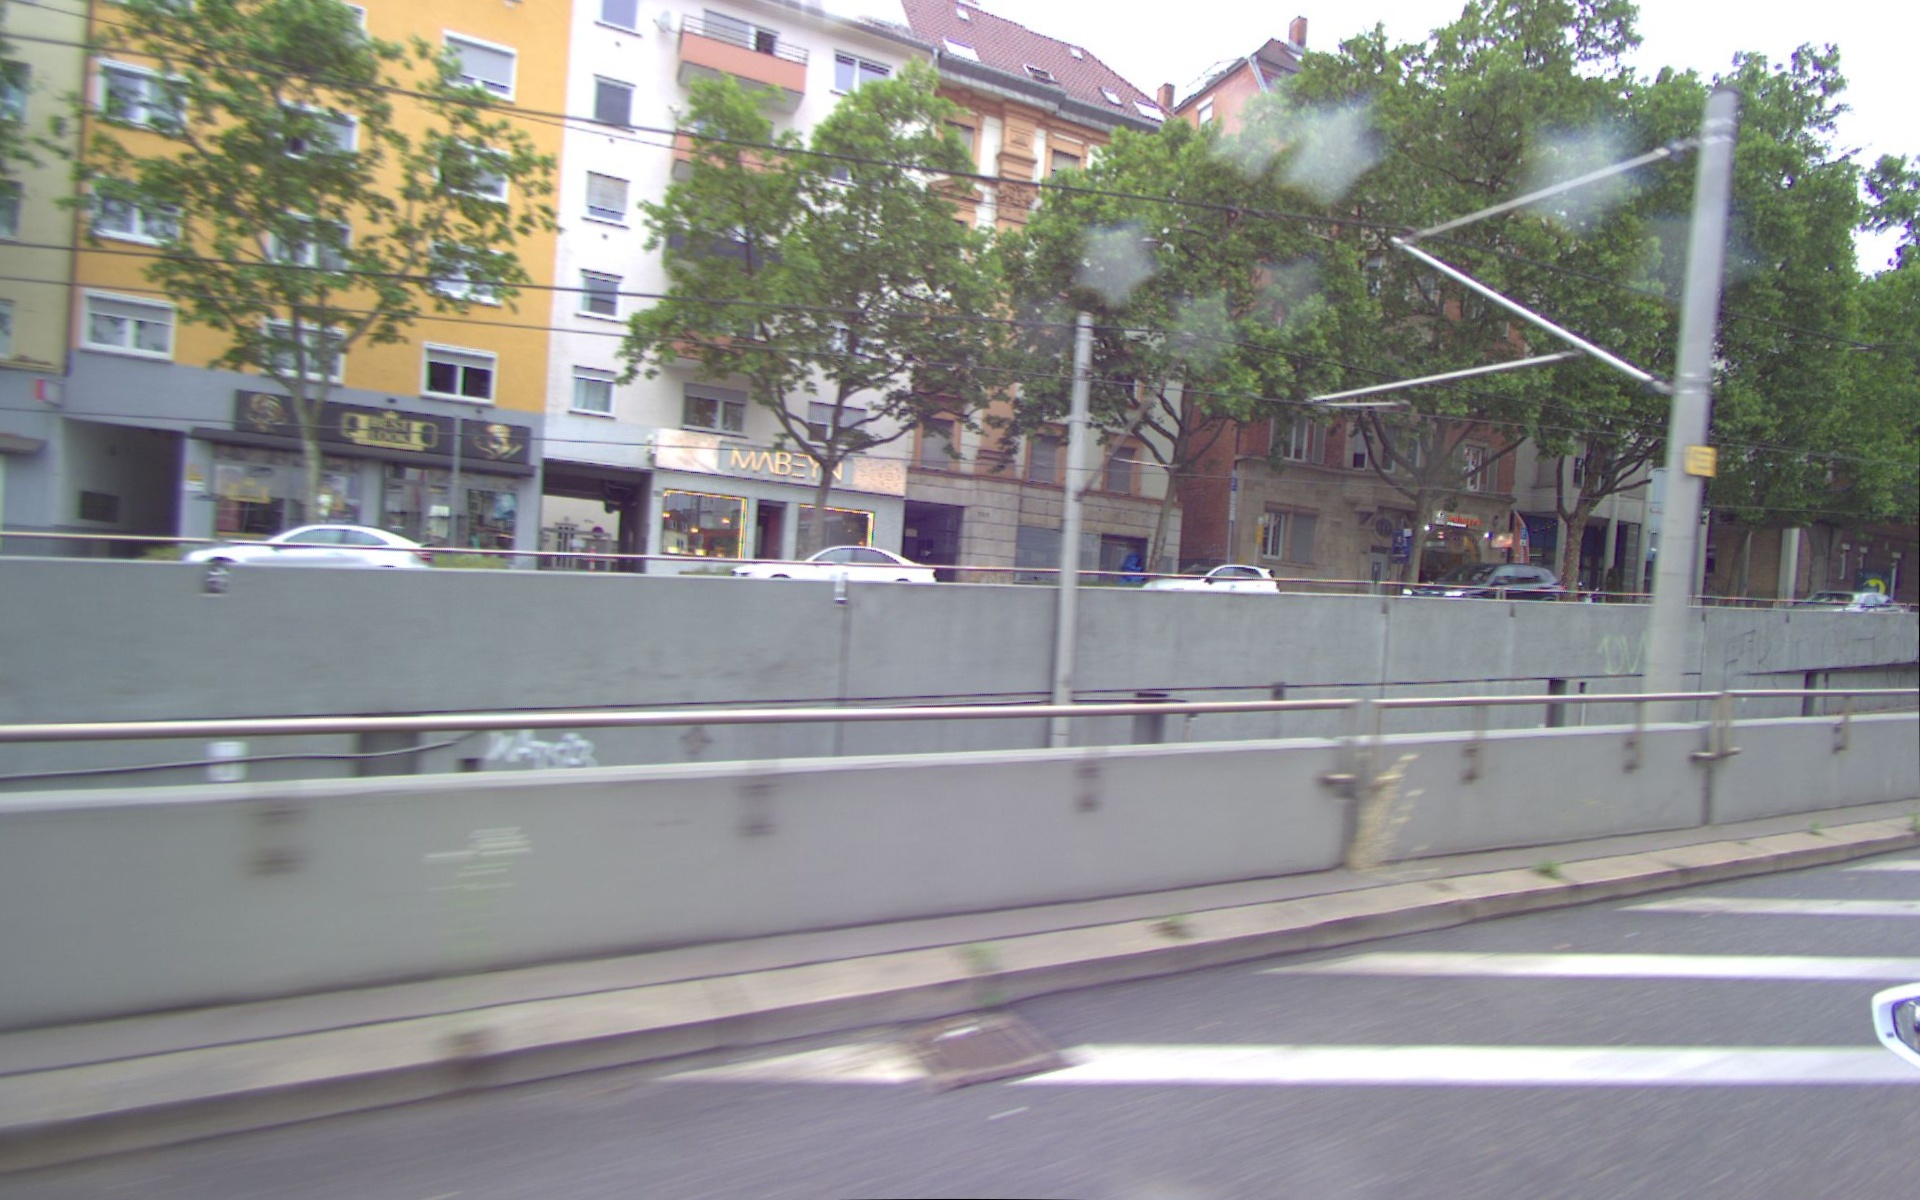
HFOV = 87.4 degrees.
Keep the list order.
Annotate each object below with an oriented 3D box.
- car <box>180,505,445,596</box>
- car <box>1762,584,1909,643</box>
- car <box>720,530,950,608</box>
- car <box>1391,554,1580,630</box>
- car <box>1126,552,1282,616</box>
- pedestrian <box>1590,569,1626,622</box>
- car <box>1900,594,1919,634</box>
[{"bbox_3d":[-12.618,-0.955,19.904,4.149,1.531,1.789,1,3,-24],"label":"car"},{"bbox_3d":[25.397,0.385,29.134,3.948,1.531,1.787,1,3,-27],"label":"car"},{"bbox_3d":[-2.985,-0.722,24.122,5.128,1.623,1.921,1,3,-25],"label":"car"},{"bbox_3d":[14.636,-0.211,27.956,4.899,1.877,1.951,2,3,-24],"label":"car"},{"bbox_3d":[6.933,-0.452,28.521,4.057,1.633,1.788,1,3,-26],"label":"car"},{"bbox_3d":[25.840,-0.166,40.082,0.921,2.041,0.667,3,3,-23],"label":"pedestrian"},{"bbox_3d":[39.070,0.625,39.367,4.052,1.531,1.789,1,3,-25],"label":"car"}]
